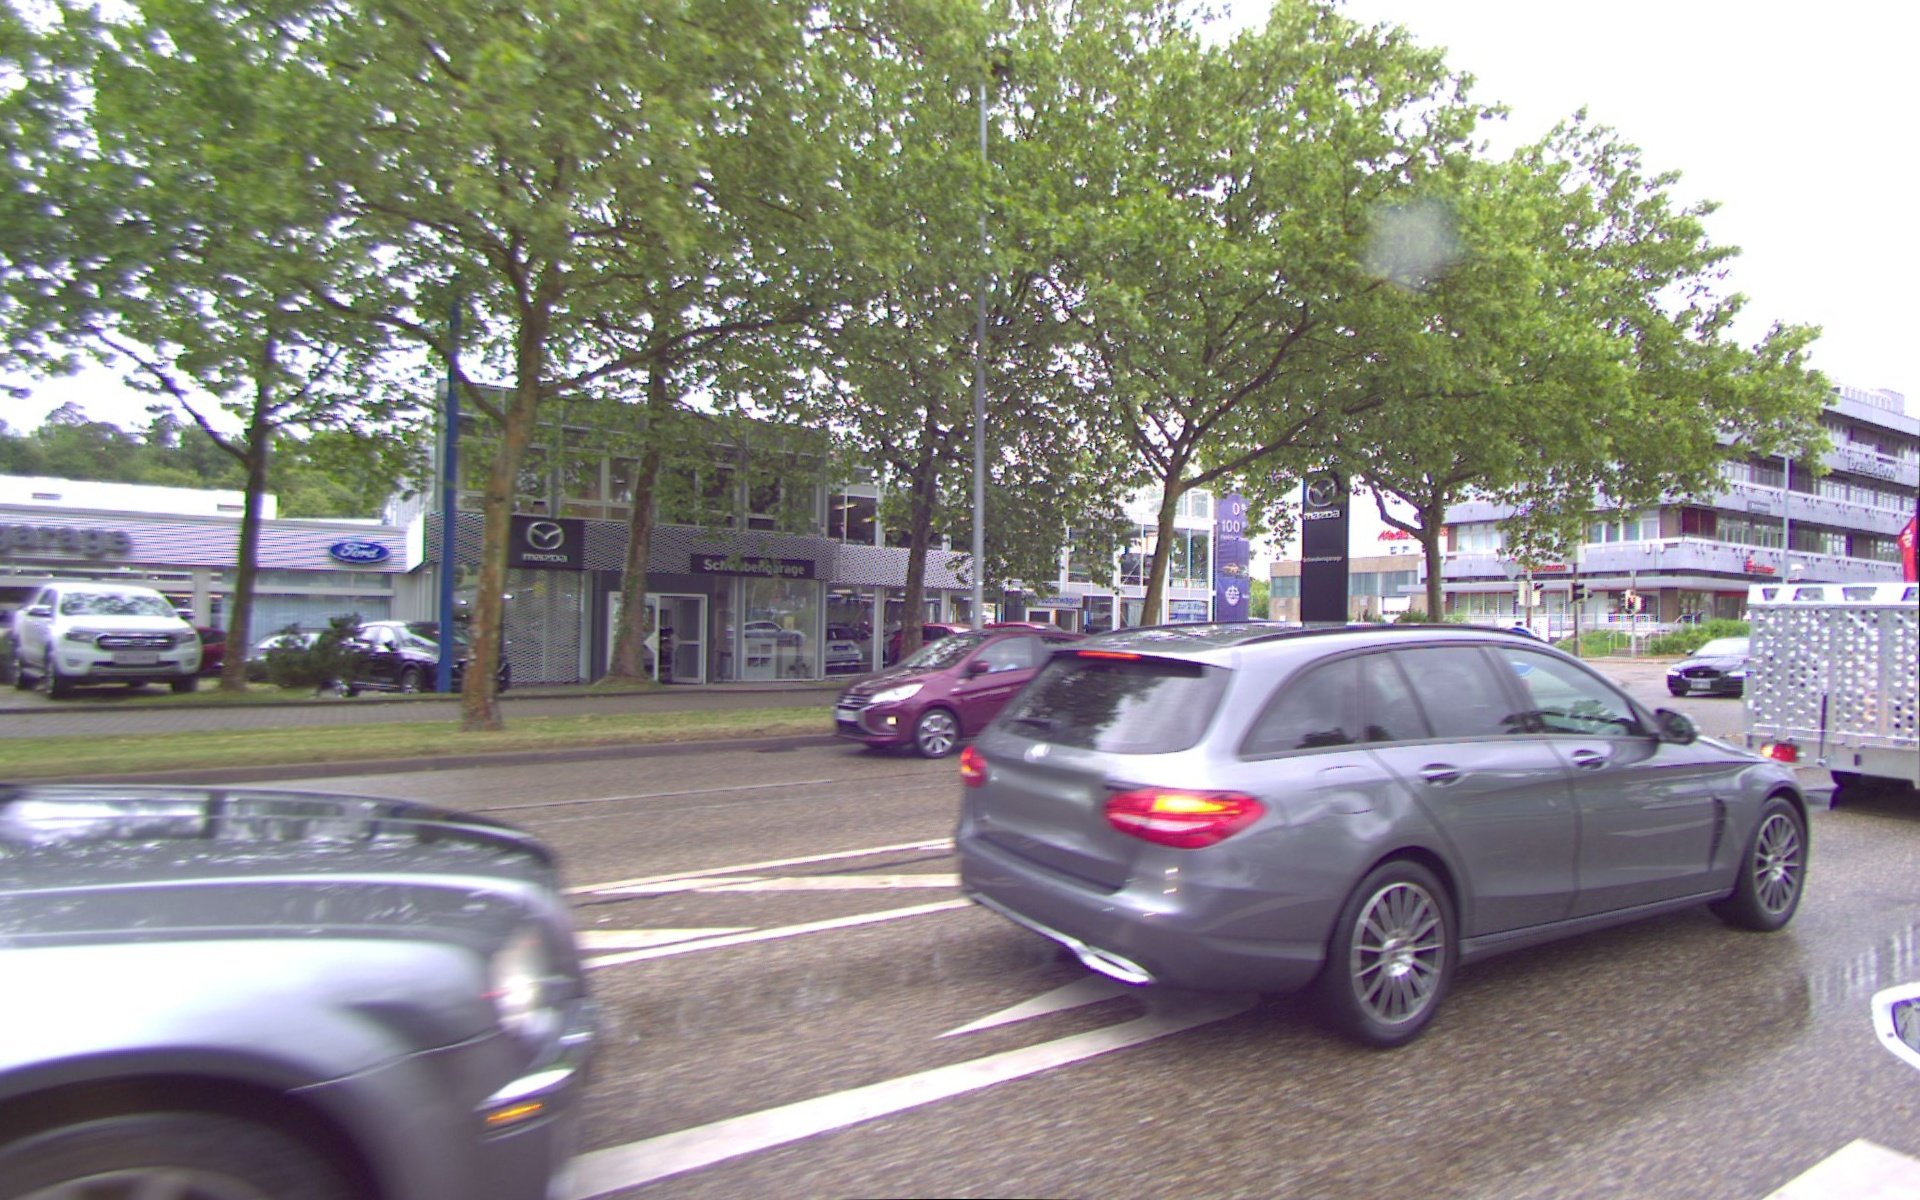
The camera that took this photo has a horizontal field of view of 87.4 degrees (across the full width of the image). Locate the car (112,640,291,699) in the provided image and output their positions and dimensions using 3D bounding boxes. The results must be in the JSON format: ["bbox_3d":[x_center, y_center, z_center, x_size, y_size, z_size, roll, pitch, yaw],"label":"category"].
[{"bbox_3d":[-18.295,1.637,24.463,1.623,1.272,3.778,1,-1,-4],"label":"car"}]

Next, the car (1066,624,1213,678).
[{"bbox_3d":[5.688,1.605,31.965,4.165,1.617,1.993,-2,-2,37],"label":"car"}]

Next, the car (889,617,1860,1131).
[{"bbox_3d":[2.110,0.833,4.843,4.499,1.448,1.985,1,-2,-30],"label":"car"}]

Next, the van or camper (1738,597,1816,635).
[{"bbox_3d":[47.016,0.937,57.792,4.734,1.993,1.983,2,0,-31],"label":"van or camper"}]

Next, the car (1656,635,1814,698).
[{"bbox_3d":[18.749,1.571,24.258,4.129,1.401,1.701,1,-4,-33],"label":"car"}]

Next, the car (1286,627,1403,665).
[{"bbox_3d":[13.993,1.655,36.695,1.673,1.311,3.717,1,-2,-34],"label":"car"}]

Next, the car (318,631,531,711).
[{"bbox_3d":[-11.244,1.409,21.033,4.390,1.469,1.996,0,-1,32],"label":"car"}]

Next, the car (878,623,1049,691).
[{"bbox_3d":[0.059,1.526,28.080,4.497,1.617,1.992,1,-1,38],"label":"car"}]

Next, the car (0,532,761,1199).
[{"bbox_3d":[-2.943,0.697,1.578,4.823,1.599,1.898,1,-2,-30],"label":"car"}]

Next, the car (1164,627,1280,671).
[{"bbox_3d":[8.967,1.648,34.637,1.673,1.409,3.716,1,-1,-34],"label":"car"}]

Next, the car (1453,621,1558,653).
[{"bbox_3d":[26.426,1.760,48.782,1.858,1.508,4.127,1,-1,-31],"label":"car"}]

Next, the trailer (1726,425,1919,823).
[{"bbox_3d":[9.387,0.241,8.902,5.484,2.935,2.360,2,-2,-32],"label":"trailer"}]

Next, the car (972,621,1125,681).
[{"bbox_3d":[2.628,1.517,30.136,4.165,1.674,2.005,-2,-3,37],"label":"car"}]

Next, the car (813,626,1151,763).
[{"bbox_3d":[0.338,1.097,12.725,4.040,1.484,1.701,2,-2,-32],"label":"car"}]

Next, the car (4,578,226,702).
[{"bbox_3d":[-14.374,0.635,17.017,4.398,1.840,1.992,0,-2,38],"label":"car"}]
